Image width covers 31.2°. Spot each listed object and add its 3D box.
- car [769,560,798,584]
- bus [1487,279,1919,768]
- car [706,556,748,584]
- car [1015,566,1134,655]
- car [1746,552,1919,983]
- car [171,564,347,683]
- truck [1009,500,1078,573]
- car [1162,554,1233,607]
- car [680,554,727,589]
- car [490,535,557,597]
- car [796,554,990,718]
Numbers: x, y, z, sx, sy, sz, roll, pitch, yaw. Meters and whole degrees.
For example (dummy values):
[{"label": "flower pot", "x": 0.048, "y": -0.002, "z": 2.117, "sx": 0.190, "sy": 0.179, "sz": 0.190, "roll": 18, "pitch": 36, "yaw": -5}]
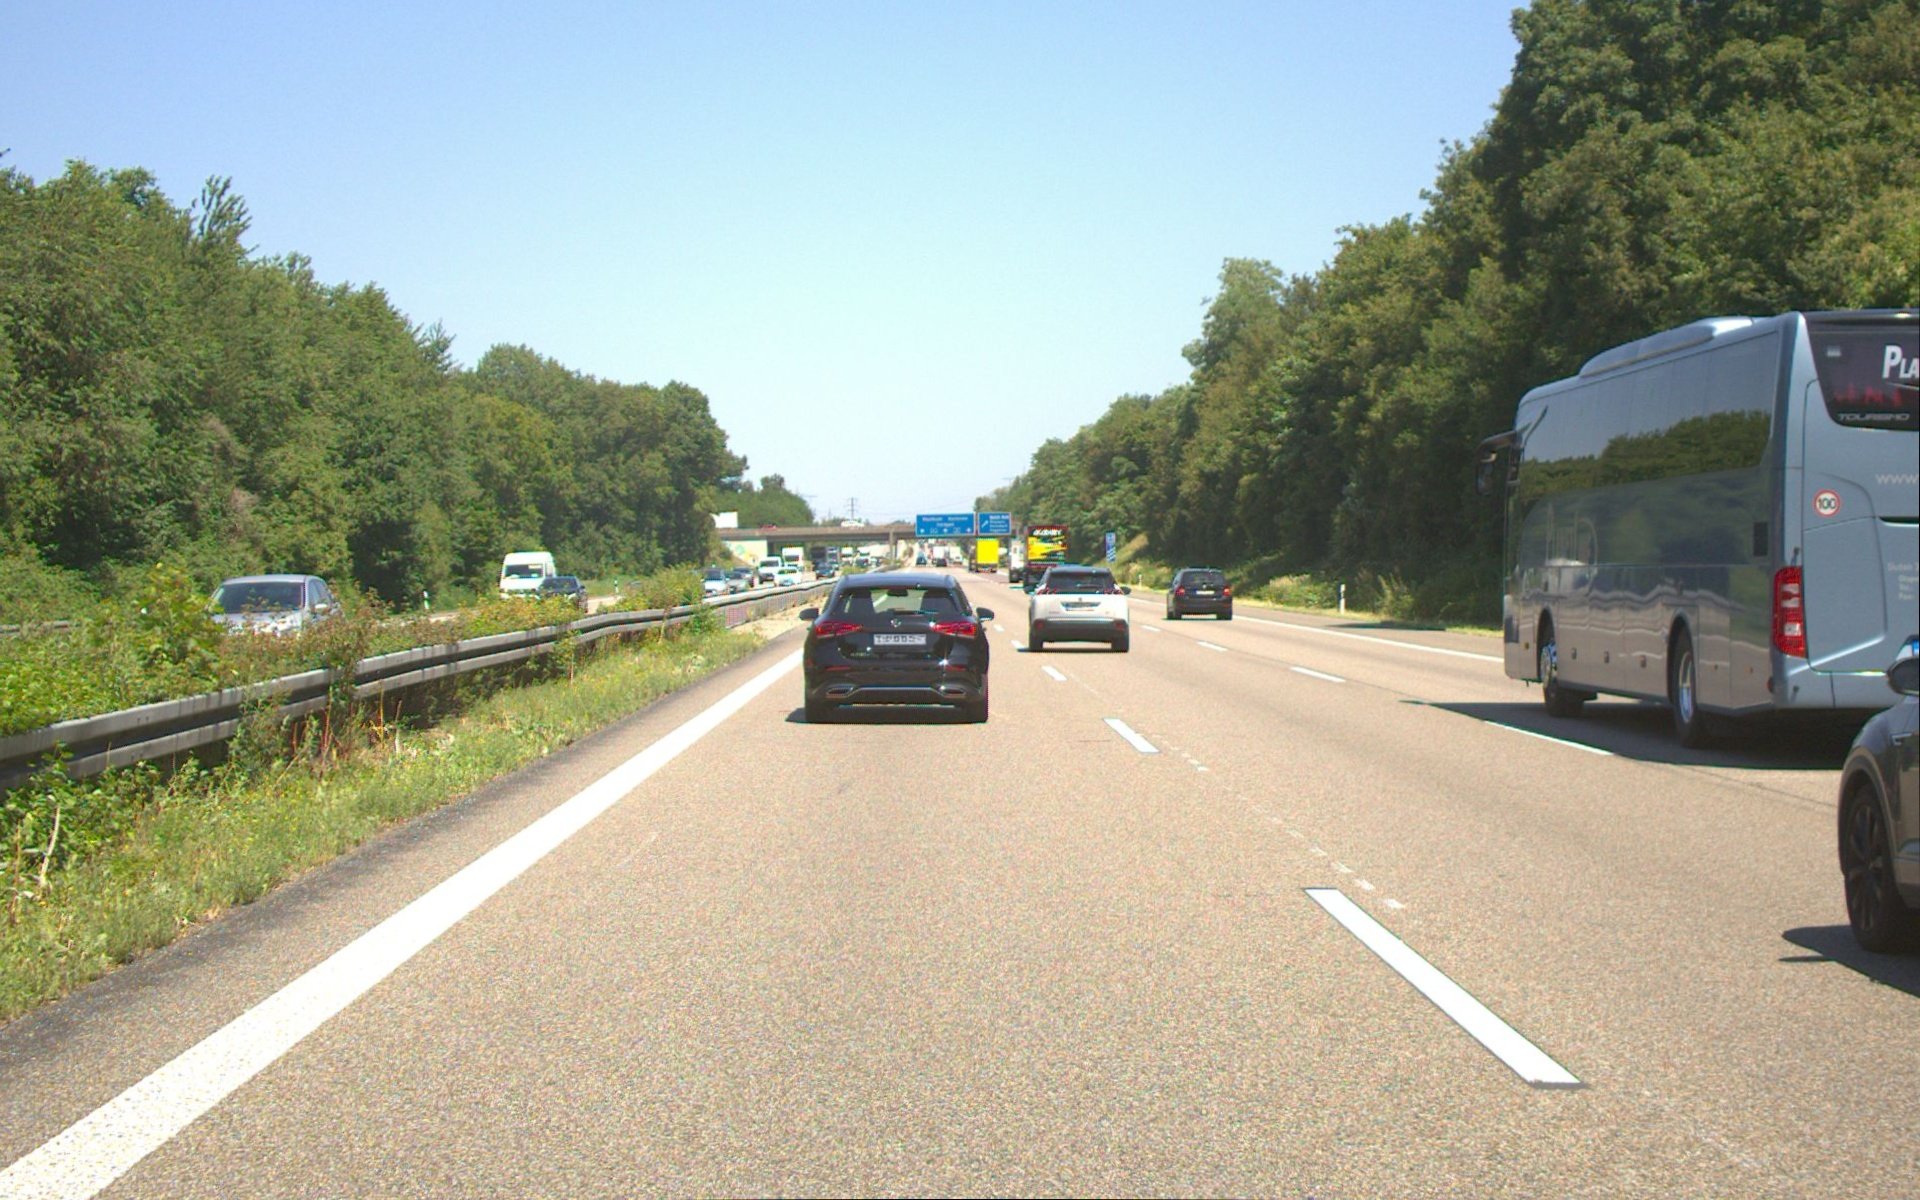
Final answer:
[{"label": "car", "x": -11.762, "y": -1.879, "z": 229.209, "sx": 1.820, "sy": 1.518, "sz": 4.824, "roll": -1, "pitch": 1, "yaw": -1}, {"label": "bus", "x": 7.228, "y": -0.645, "z": 31.452, "sx": 2.802, "sy": 3.584, "sz": 12.475, "roll": 0, "pitch": 1, "yaw": 0}, {"label": "car", "x": -11.868, "y": -1.543, "z": 175.234, "sx": 1.838, "sy": 1.378, "sz": 4.428, "roll": -2, "pitch": 1, "yaw": 0}, {"label": "car", "x": 2.039, "y": 0.163, "z": 62.451, "sx": 1.899, "sy": 1.527, "sz": 4.242, "roll": 0, "pitch": 1, "yaw": -1}, {"label": "car", "x": 4.369, "y": 0.604, "z": 12.311, "sx": 1.899, "sy": 1.527, "sz": 4.760, "roll": 0, "pitch": 1, "yaw": -1}, {"label": "car", "x": -9.636, "y": 0.287, "z": 47.557, "sx": 1.668, "sy": 1.506, "sz": 4.520, "roll": -1, "pitch": 1, "yaw": -2}, {"label": "truck", "x": 5.406, "y": -4.088, "z": 225.717, "sx": 3.647, "sy": 4.574, "sz": 15.768, "roll": 1, "pitch": 1, "yaw": -2}, {"label": "car", "x": 6.795, "y": -0.573, "z": 98.626, "sx": 1.789, "sy": 1.456, "sz": 3.949, "roll": 0, "pitch": 1, "yaw": 0}, {"label": "car", "x": -11.241, "y": -1.258, "z": 150.835, "sx": 1.848, "sy": 1.445, "sz": 4.208, "roll": -2, "pitch": 1, "yaw": -1}, {"label": "car", "x": -18.956, "y": -1.498, "z": 149.633, "sx": 2.087, "sy": 2.543, "sz": 6.228, "roll": -2, "pitch": 1, "yaw": 0}, {"label": "car", "x": -0.681, "y": 0.310, "z": 34.066, "sx": 1.799, "sy": 1.497, "sz": 4.242, "roll": 0, "pitch": 1, "yaw": -1}]
